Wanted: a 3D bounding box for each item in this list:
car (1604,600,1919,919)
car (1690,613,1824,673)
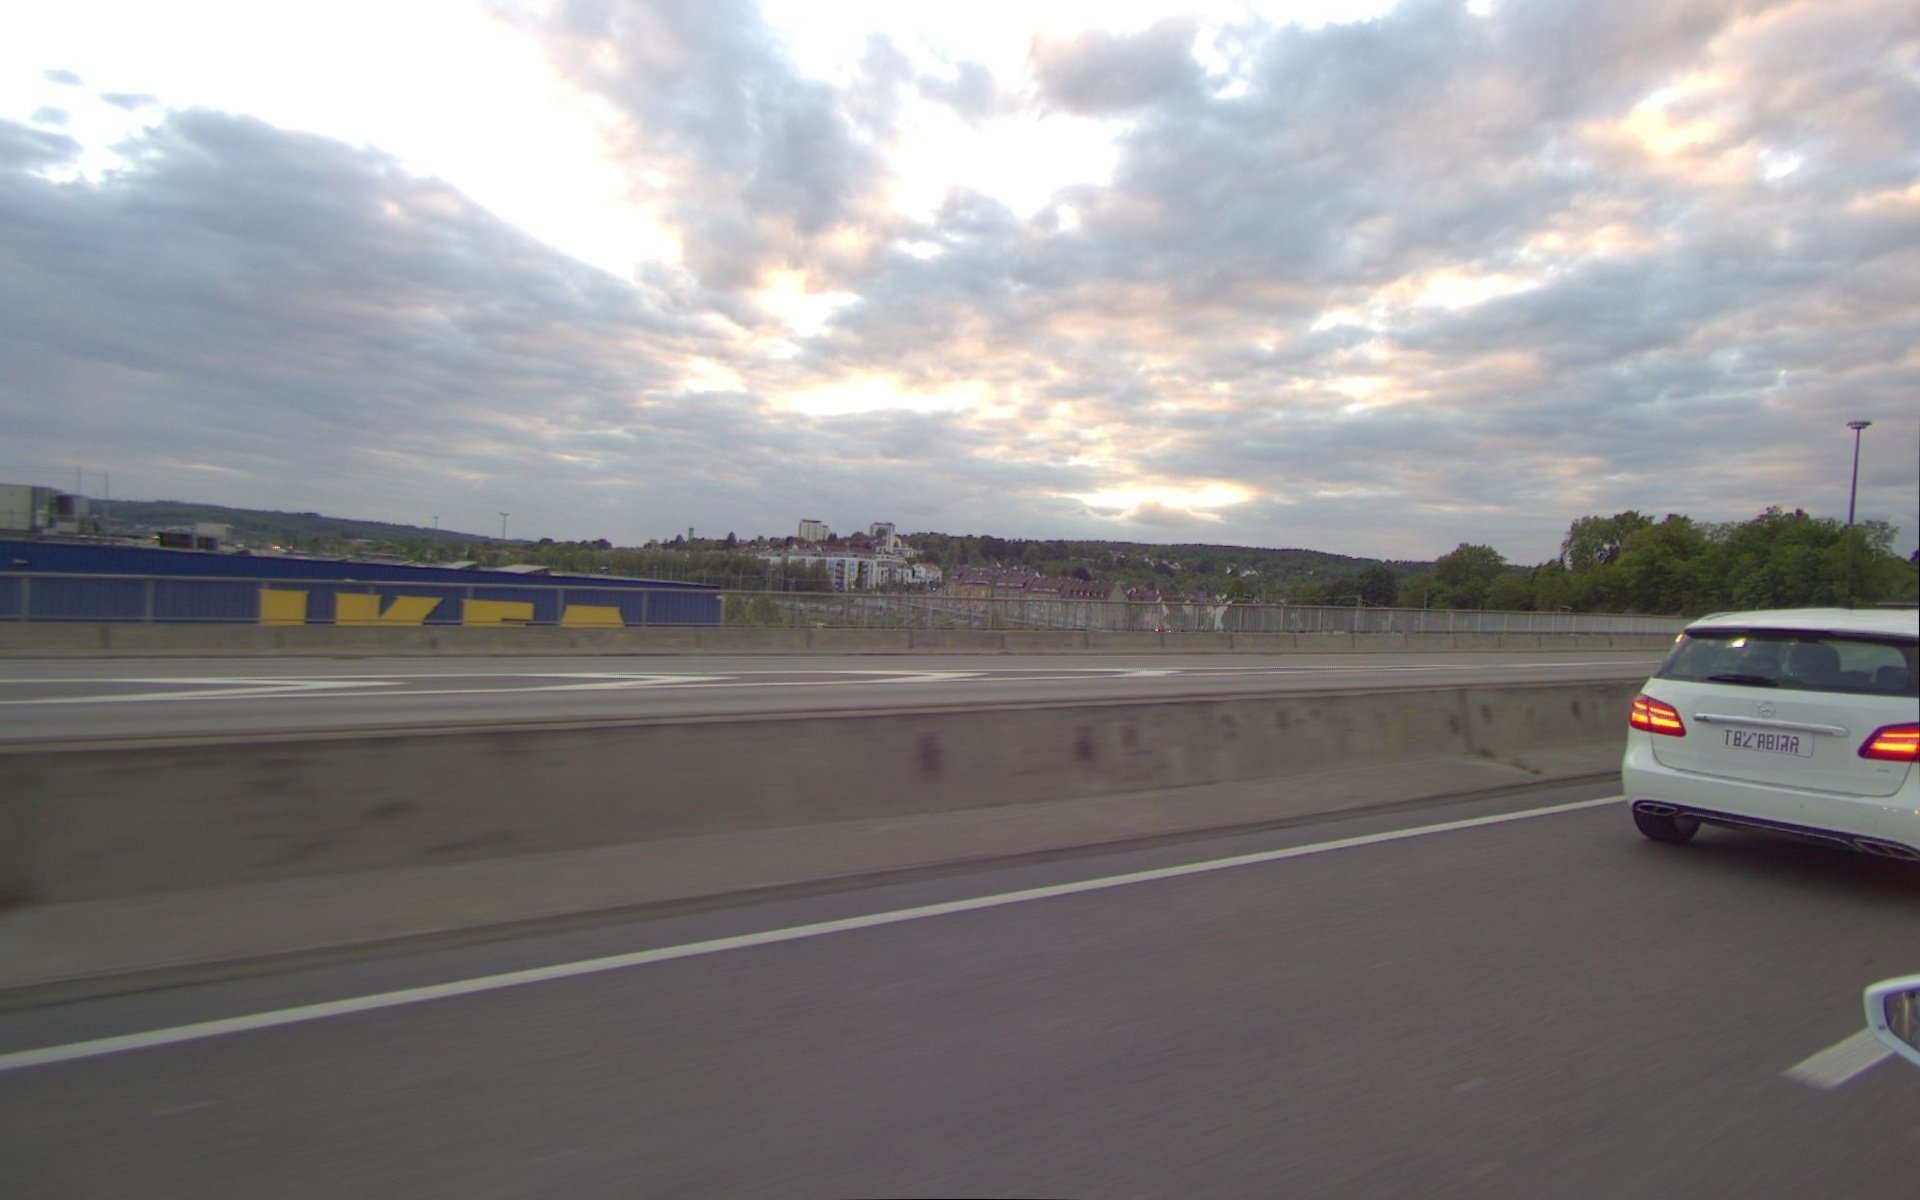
[{"bbox_3d":[6.436,0.886,6.724,4.730,1.557,1.682,3,-1,-32],"label":"car"},{"bbox_3d":[22.001,1.152,27.694,4.180,1.496,1.720,2,0,-34],"label":"car"}]
